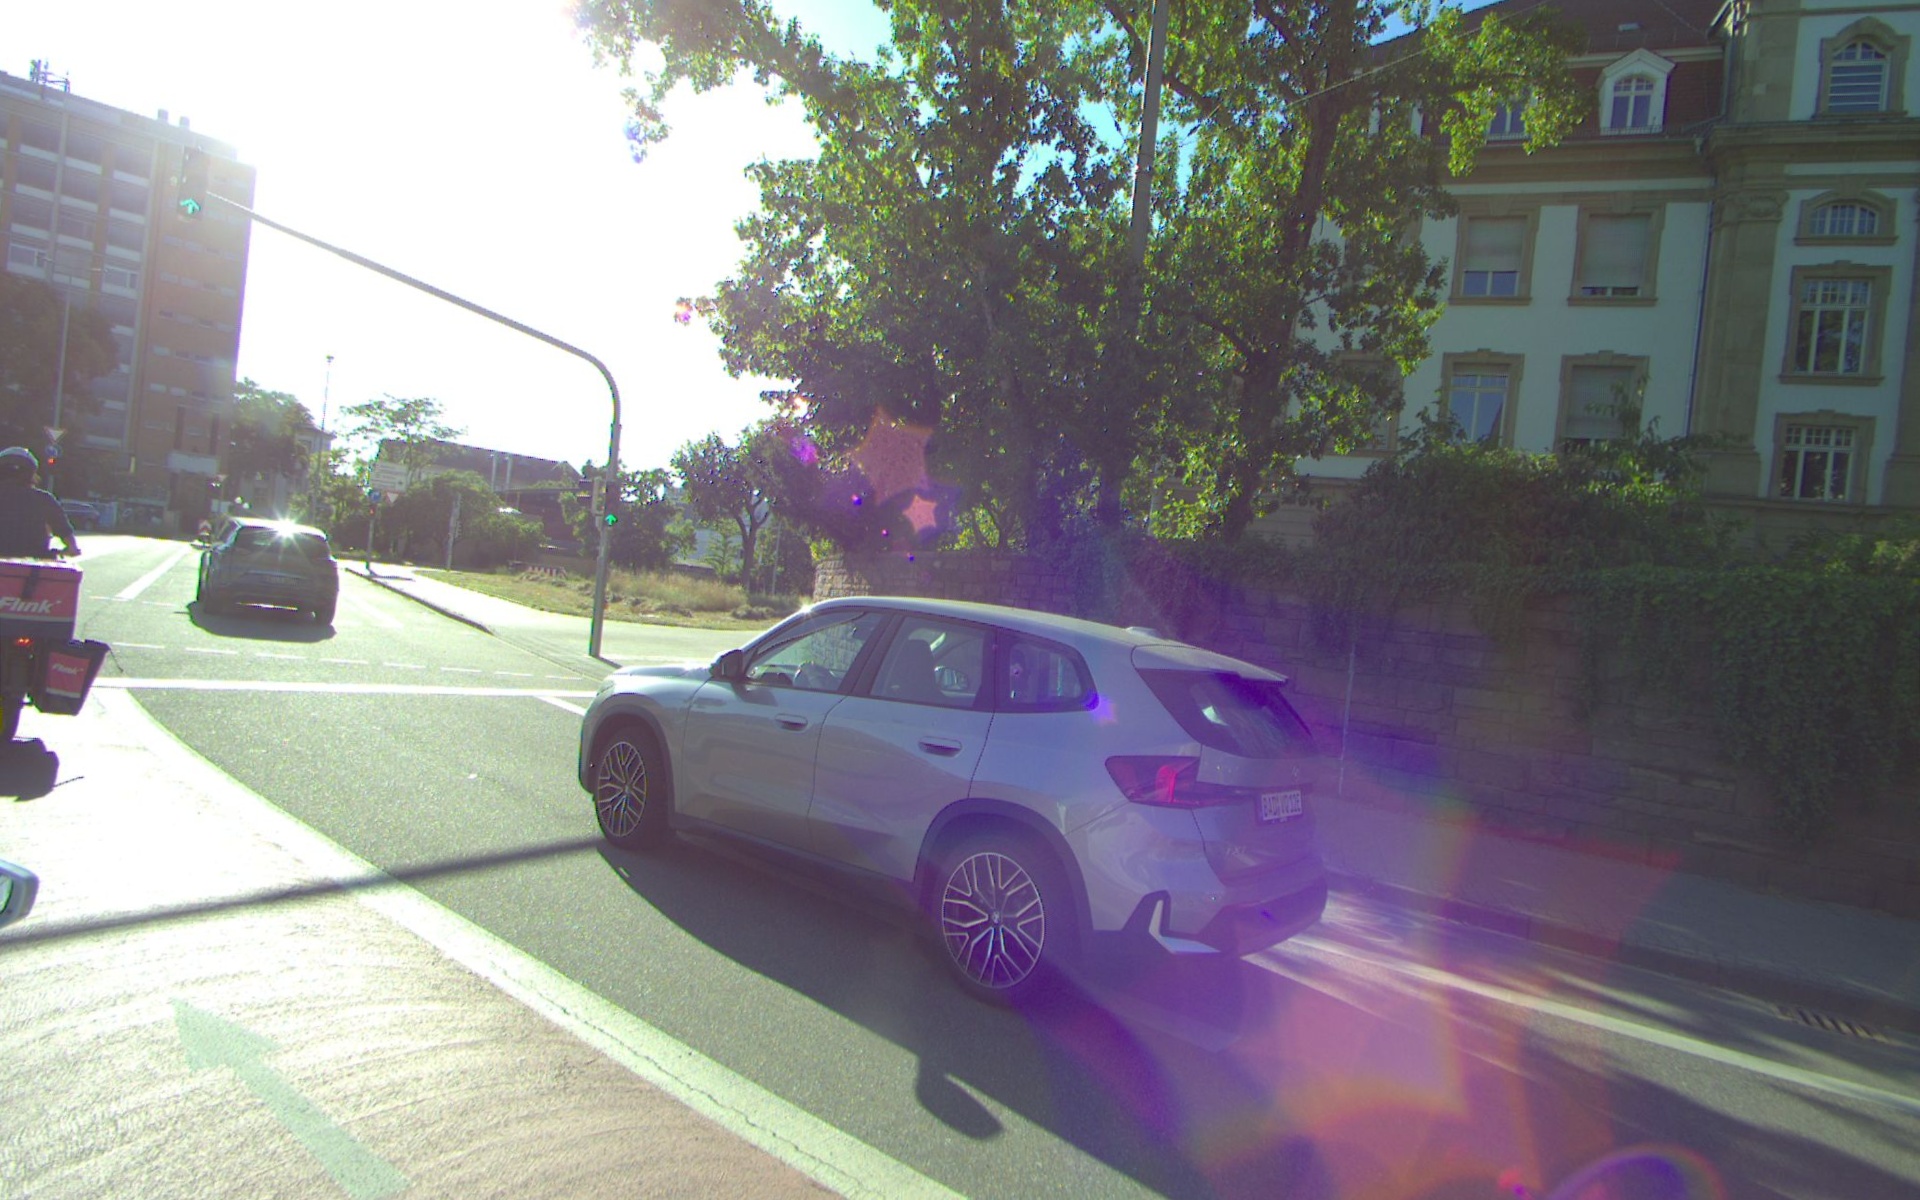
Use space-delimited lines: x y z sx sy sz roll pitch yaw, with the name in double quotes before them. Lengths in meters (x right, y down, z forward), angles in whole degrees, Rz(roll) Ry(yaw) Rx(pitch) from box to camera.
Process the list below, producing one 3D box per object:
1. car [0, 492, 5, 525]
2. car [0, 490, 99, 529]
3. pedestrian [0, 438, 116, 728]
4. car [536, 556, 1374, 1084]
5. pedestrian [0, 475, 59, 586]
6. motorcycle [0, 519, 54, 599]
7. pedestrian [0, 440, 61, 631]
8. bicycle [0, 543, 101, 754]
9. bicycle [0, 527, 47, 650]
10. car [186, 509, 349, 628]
"car" -44.746 -4.257 45.210 1.785 1.549 3.967 5 0 -31
"car" -48.257 -4.747 53.279 1.771 1.549 3.999 6 0 1
"pedestrian" -6.601 -0.128 6.968 0.942 1.890 0.806 6 -2 38
"car" -0.273 0.802 5.512 4.265 1.612 1.787 6 -2 38
"pedestrian" -14.565 -1.075 15.691 0.586 1.617 1.012 8 -2 -43
"motorcycle" -14.689 -0.669 15.770 0.611 1.110 2.332 8 -2 -42
"pedestrian" -9.942 -0.678 10.477 0.656 1.890 0.863 8 -2 -41
"bicycle" -6.400 0.237 6.707 2.339 1.185 0.554 5 -2 40
"bicycle" -9.982 -0.166 10.446 0.562 1.164 1.928 8 -2 -40
"car" -12.624 -0.588 18.222 1.825 1.708 4.320 9 -3 -41
